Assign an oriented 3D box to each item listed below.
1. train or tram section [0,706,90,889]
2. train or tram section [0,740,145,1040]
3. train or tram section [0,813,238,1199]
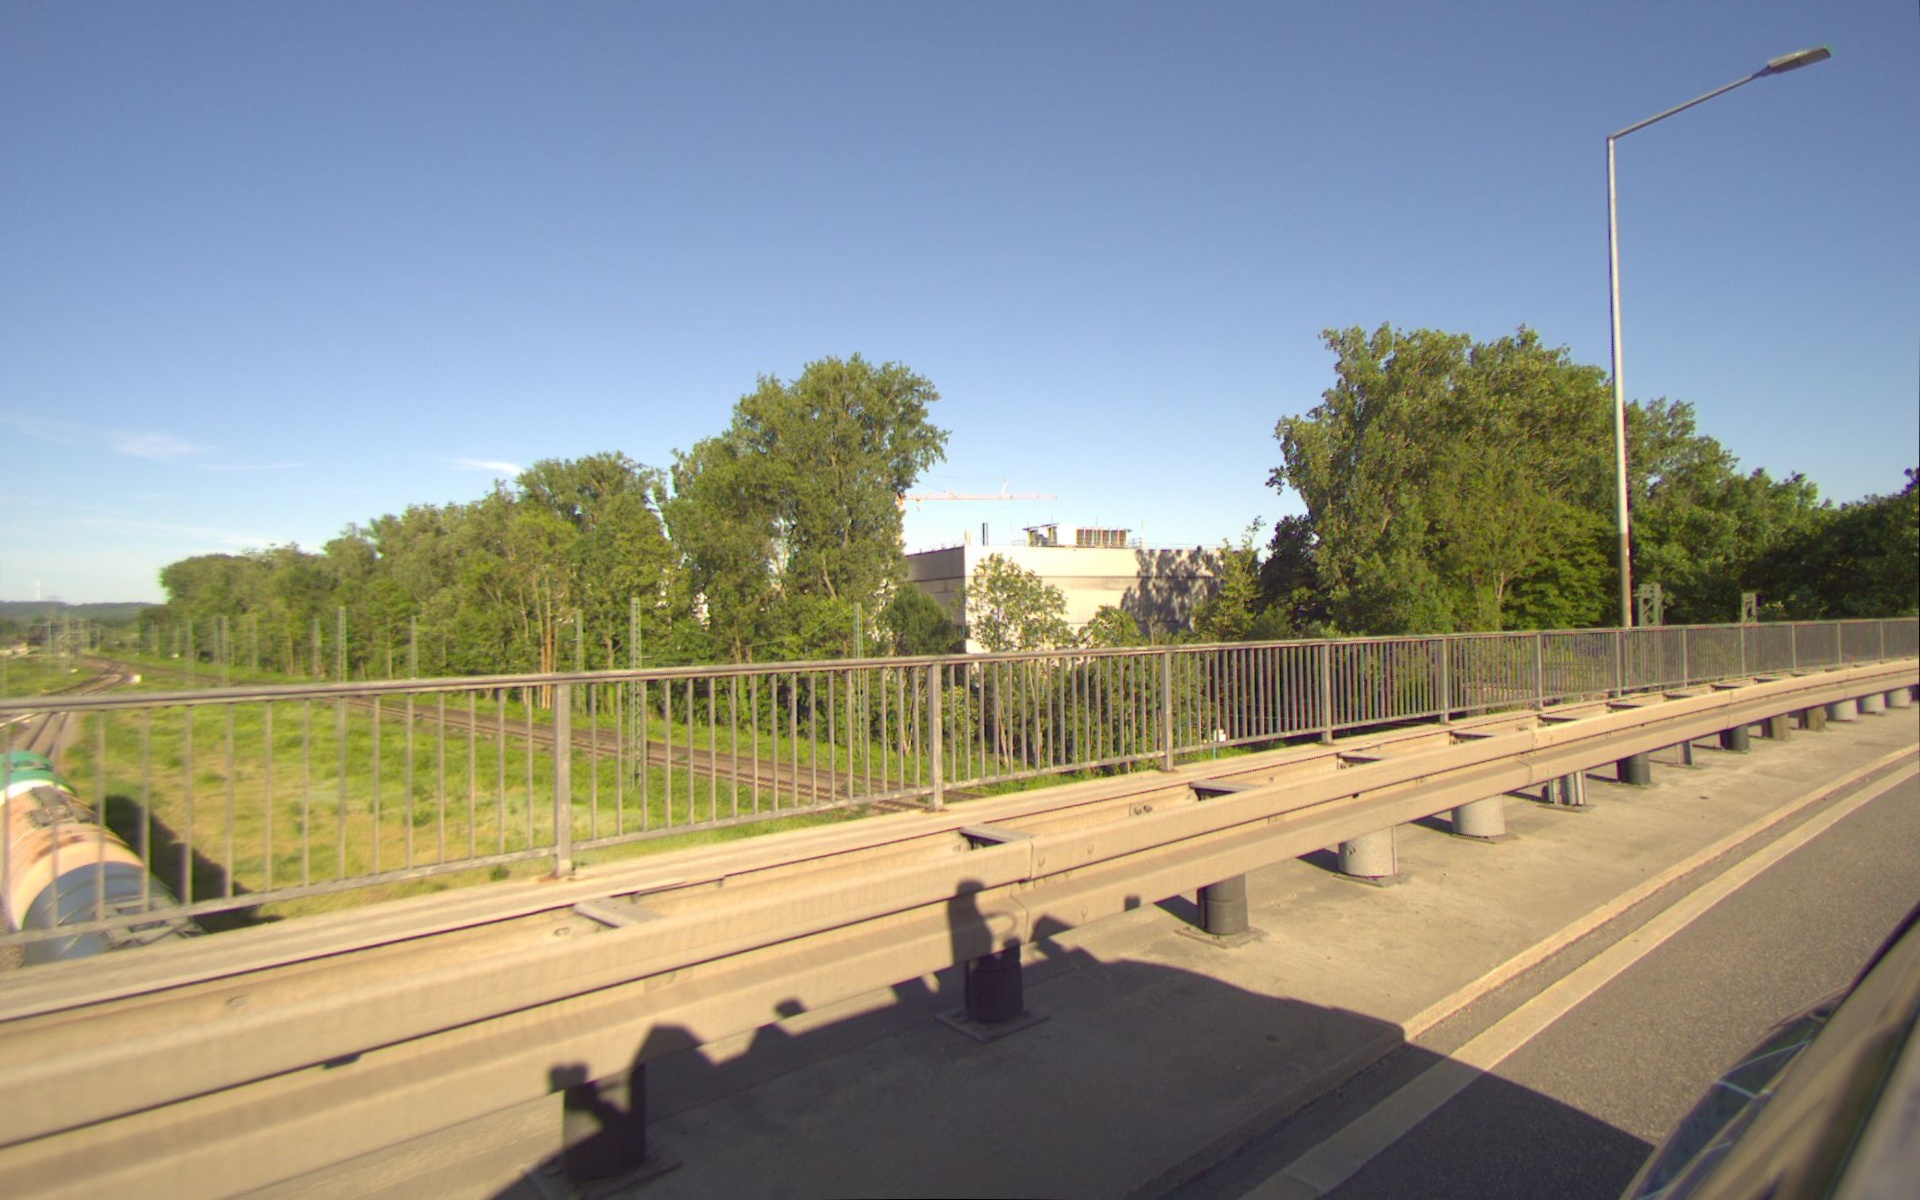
[{"bbox_3d":[-40.559,8.033,43.840,3.283,5.248,15.137,0,1,-45],"label":"train or tram section"},{"bbox_3d":[-29.329,8.311,32.441,3.283,5.327,16.834,0,1,-45],"label":"train or tram section"},{"bbox_3d":[-18.804,8.572,21.748,3.283,5.331,13.048,0,1,-45],"label":"train or tram section"}]
